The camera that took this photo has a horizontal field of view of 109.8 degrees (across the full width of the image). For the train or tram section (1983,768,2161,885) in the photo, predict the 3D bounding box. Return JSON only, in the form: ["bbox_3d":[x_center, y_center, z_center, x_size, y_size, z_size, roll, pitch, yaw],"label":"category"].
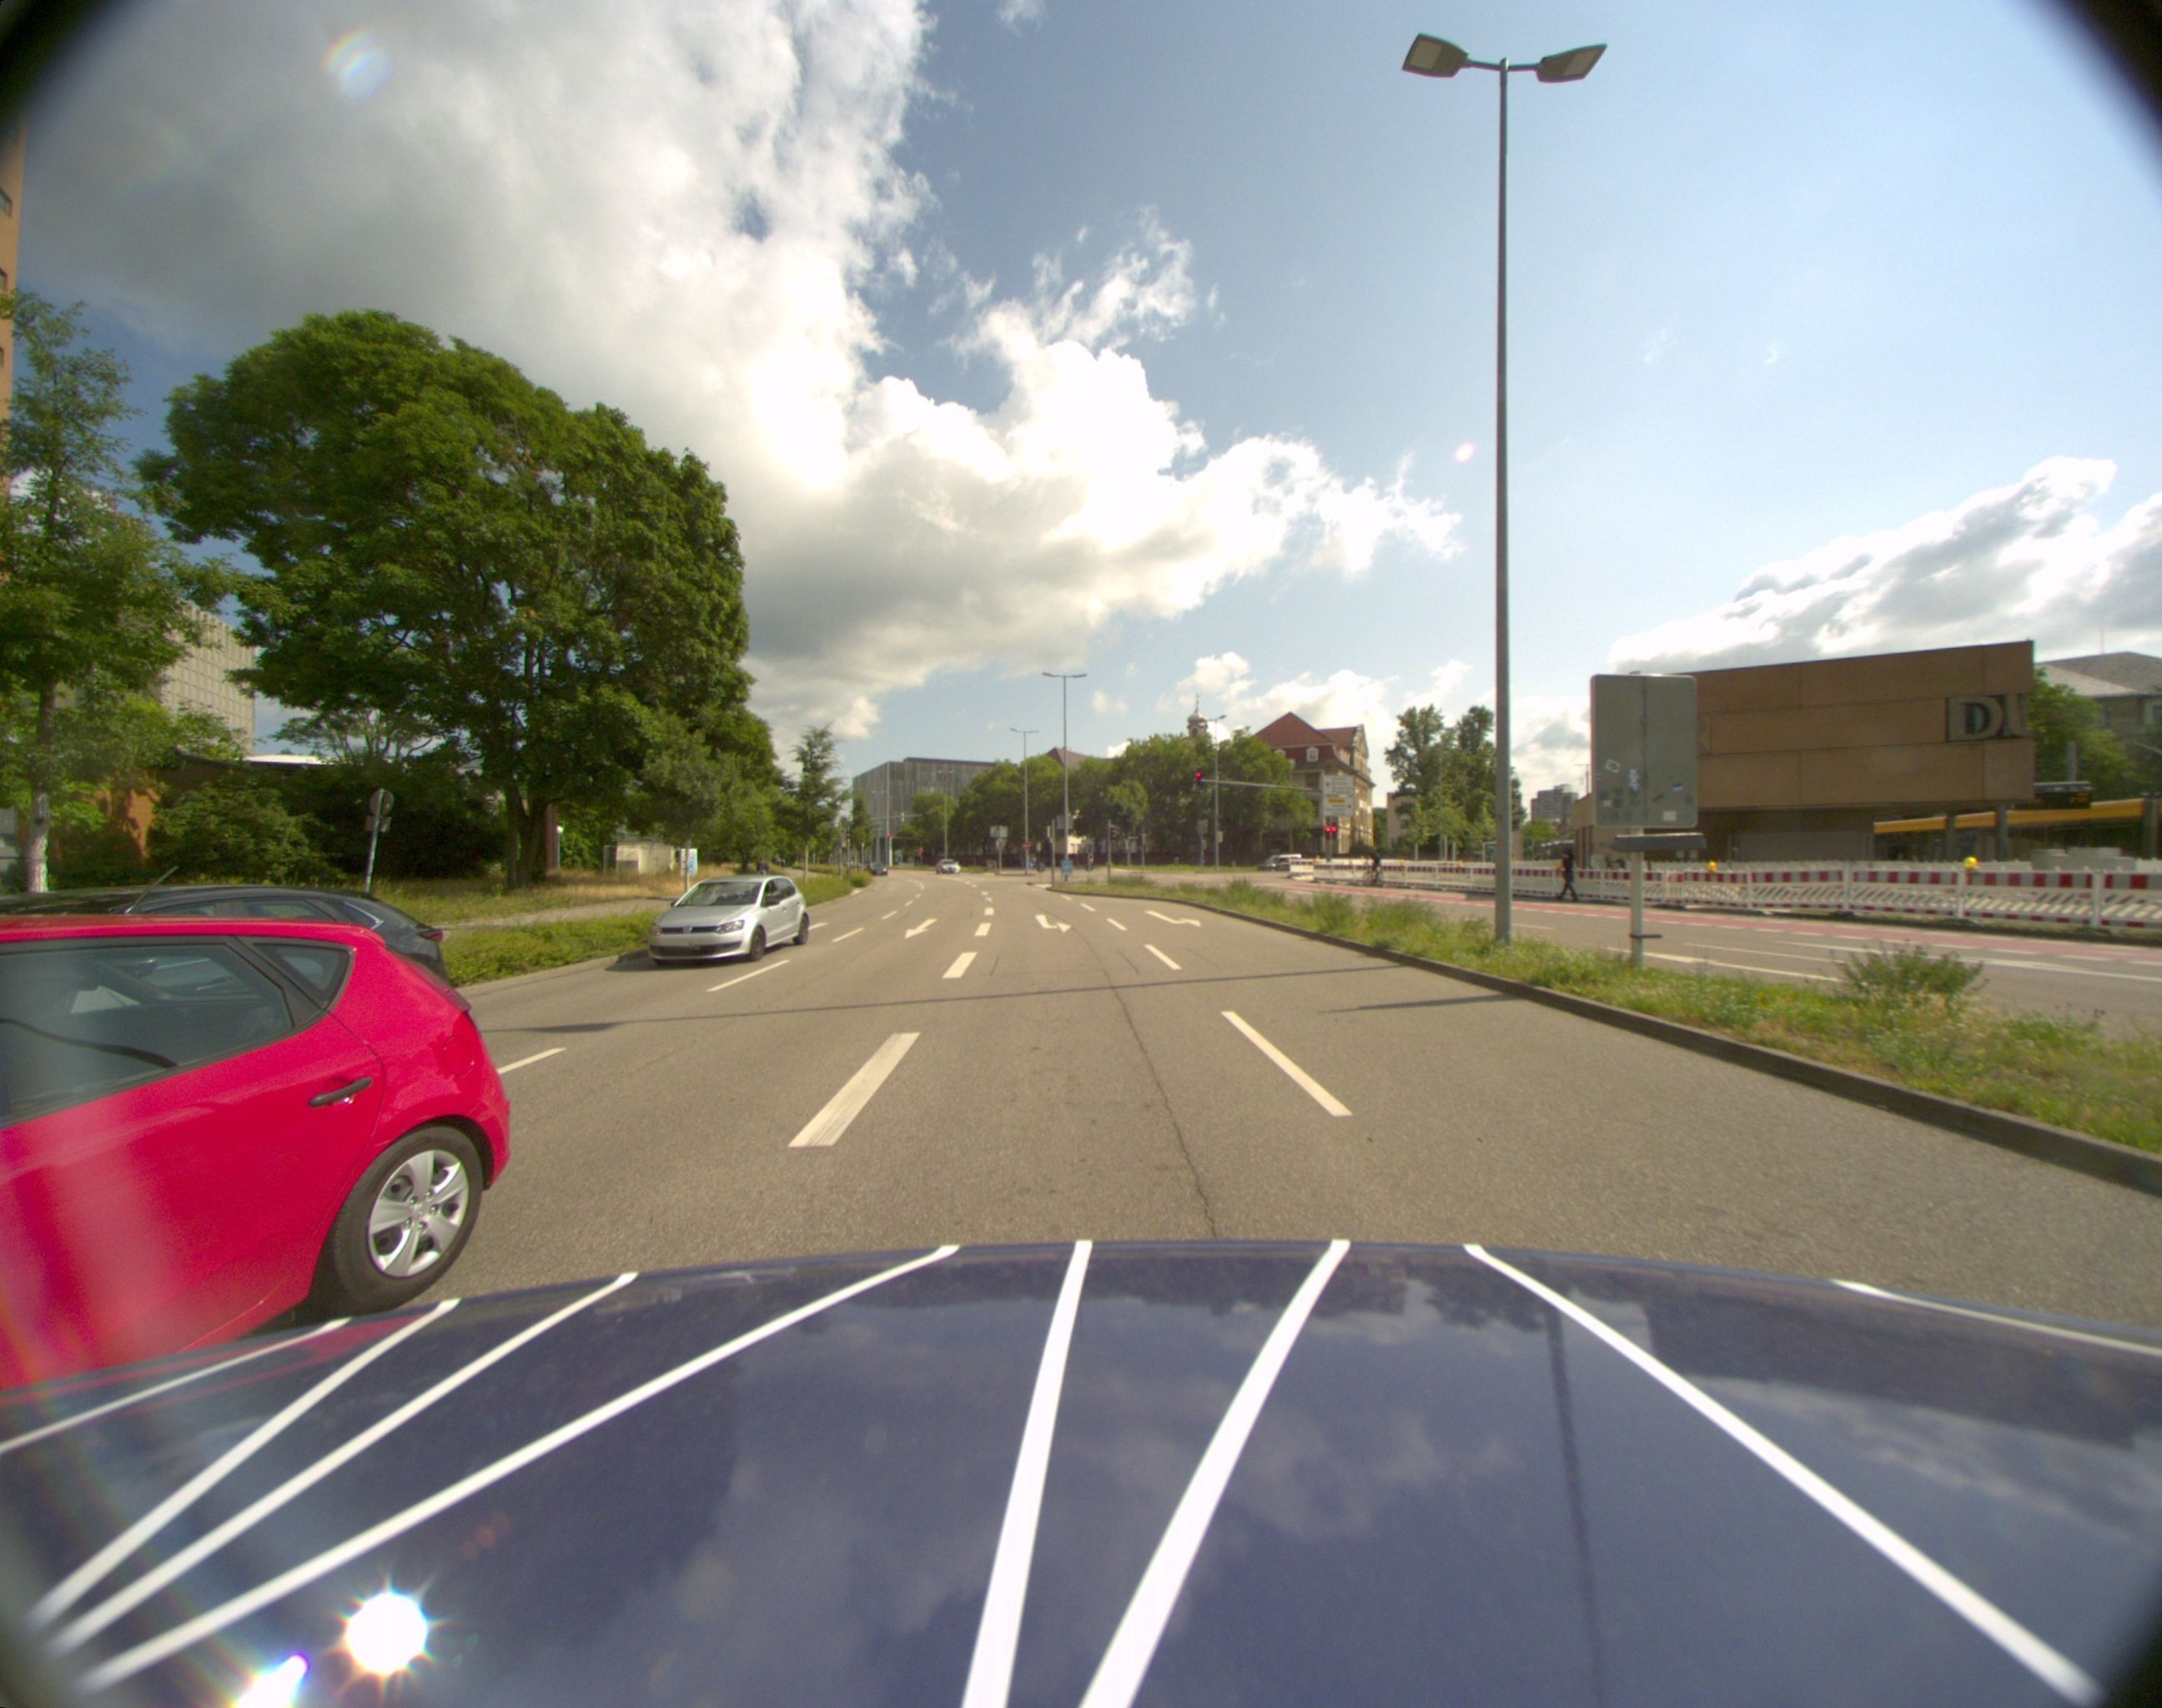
[{"bbox_3d":[35.364,-0.966,25.175,3.316,3.461,10.625,-2,1,28],"label":"train or tram section"}]

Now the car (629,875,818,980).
[{"bbox_3d":[-6.173,1.182,13.675,1.587,1.377,4.077,-2,1,-3],"label":"car"}]

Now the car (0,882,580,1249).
[{"bbox_3d":[-6.020,1.127,5.747,1.645,1.567,4.211,-2,1,-1],"label":"car"}]

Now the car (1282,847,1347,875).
[{"bbox_3d":[15.324,0.462,49.847,3.991,1.772,2.003,0,0,20],"label":"car"}]

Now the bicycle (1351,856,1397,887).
[{"bbox_3d":[13.667,0.779,35.505,0.973,1.402,2.291,-1,0,-9],"label":"bicycle"}]

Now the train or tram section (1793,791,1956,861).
[{"bbox_3d":[45.333,-1.568,43.947,3.316,3.461,10.625,-2,1,28],"label":"train or tram section"}]

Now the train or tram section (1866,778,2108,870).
[{"bbox_3d":[40.356,-1.267,34.577,3.316,3.461,10.625,-2,1,28],"label":"train or tram section"}]

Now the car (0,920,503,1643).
[{"bbox_3d":[-3.233,1.056,1.124,1.645,1.459,4.064,-2,1,-1],"label":"car"}]

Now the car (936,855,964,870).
[{"bbox_3d":[-13.620,0.845,79.049,1.834,1.516,3.991,0,0,-25],"label":"car"}]

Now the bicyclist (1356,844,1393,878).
[{"bbox_3d":[13.710,0.326,35.550,0.778,1.554,1.774,-1,0,-10],"label":"bicyclist"}]

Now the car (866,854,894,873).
[{"bbox_3d":[-20.278,0.962,76.643,2.002,1.745,3.992,-3,1,-24],"label":"car"}]

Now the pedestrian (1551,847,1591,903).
[{"bbox_3d":[15.877,0.663,24.648,0.653,1.754,1.001,0,0,-1],"label":"pedestrian"}]
